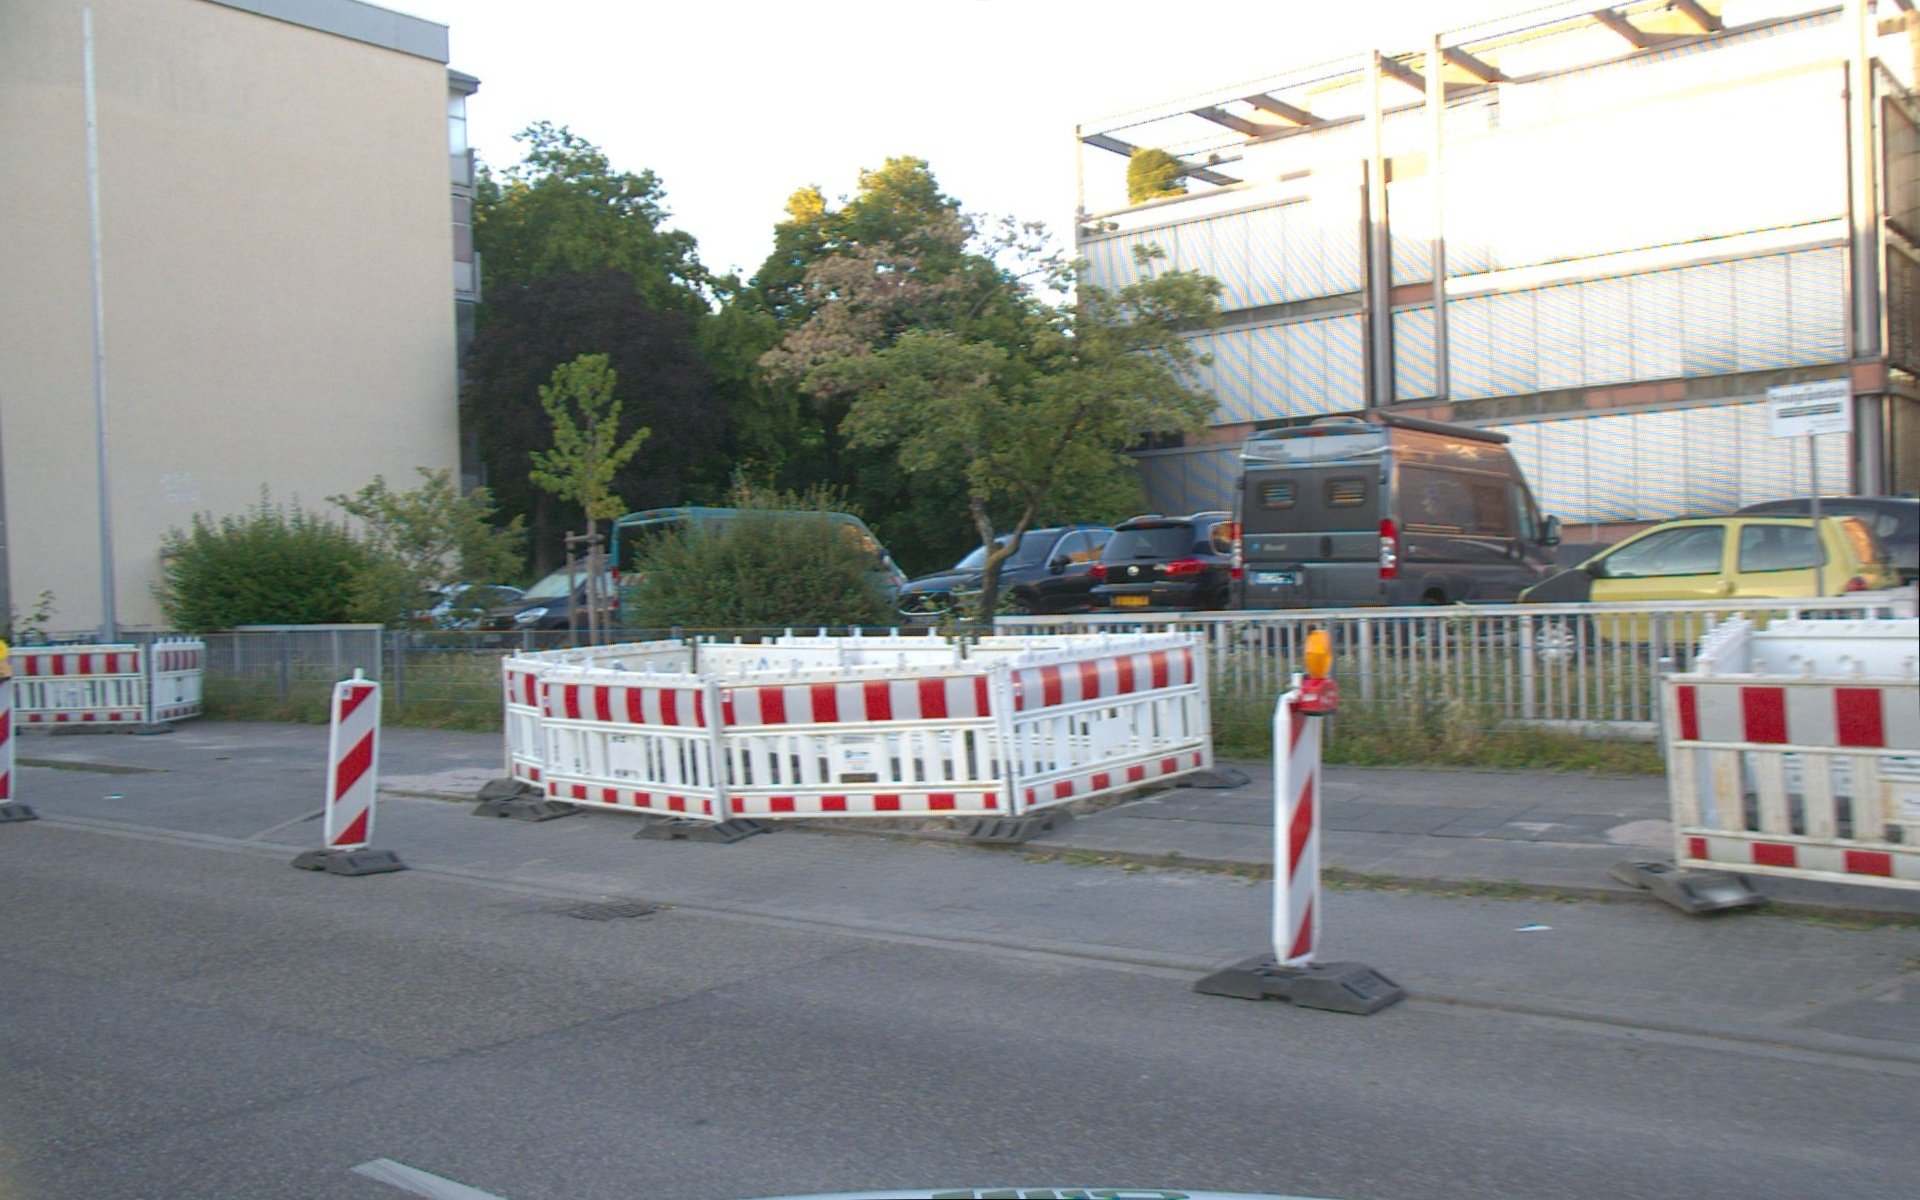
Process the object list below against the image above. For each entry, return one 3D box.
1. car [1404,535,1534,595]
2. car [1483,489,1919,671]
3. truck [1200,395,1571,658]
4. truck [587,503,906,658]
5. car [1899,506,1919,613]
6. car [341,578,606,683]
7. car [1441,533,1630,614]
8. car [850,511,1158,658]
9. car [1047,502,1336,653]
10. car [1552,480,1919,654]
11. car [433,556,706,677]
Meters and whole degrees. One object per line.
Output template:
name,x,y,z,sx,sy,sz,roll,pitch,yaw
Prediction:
car,13.498,-0.942,43.749,1.867,1.457,4.159,-1,1,39
car,7.022,-0.157,15.675,3.576,1.530,1.628,-2,1,41
truck,5.112,-0.807,19.345,2.297,2.662,4.949,-1,1,39
truck,-3.126,-0.316,24.941,2.075,2.127,4.486,-2,1,42
car,16.240,-0.696,25.918,1.962,1.603,4.344,-1,1,39
car,-8.699,0.508,29.855,1.962,1.676,4.207,-2,1,38
car,10.637,-0.512,30.381,1.909,1.328,4.344,-1,1,39
car,0.691,-0.237,22.006,1.960,1.757,4.284,-1,1,37
car,3.048,-0.307,21.126,1.960,1.721,3.985,-1,1,37
car,8.756,-0.318,17.349,4.514,1.666,1.567,-2,1,41
car,-6.571,0.238,28.213,1.962,1.858,4.207,-2,1,38
